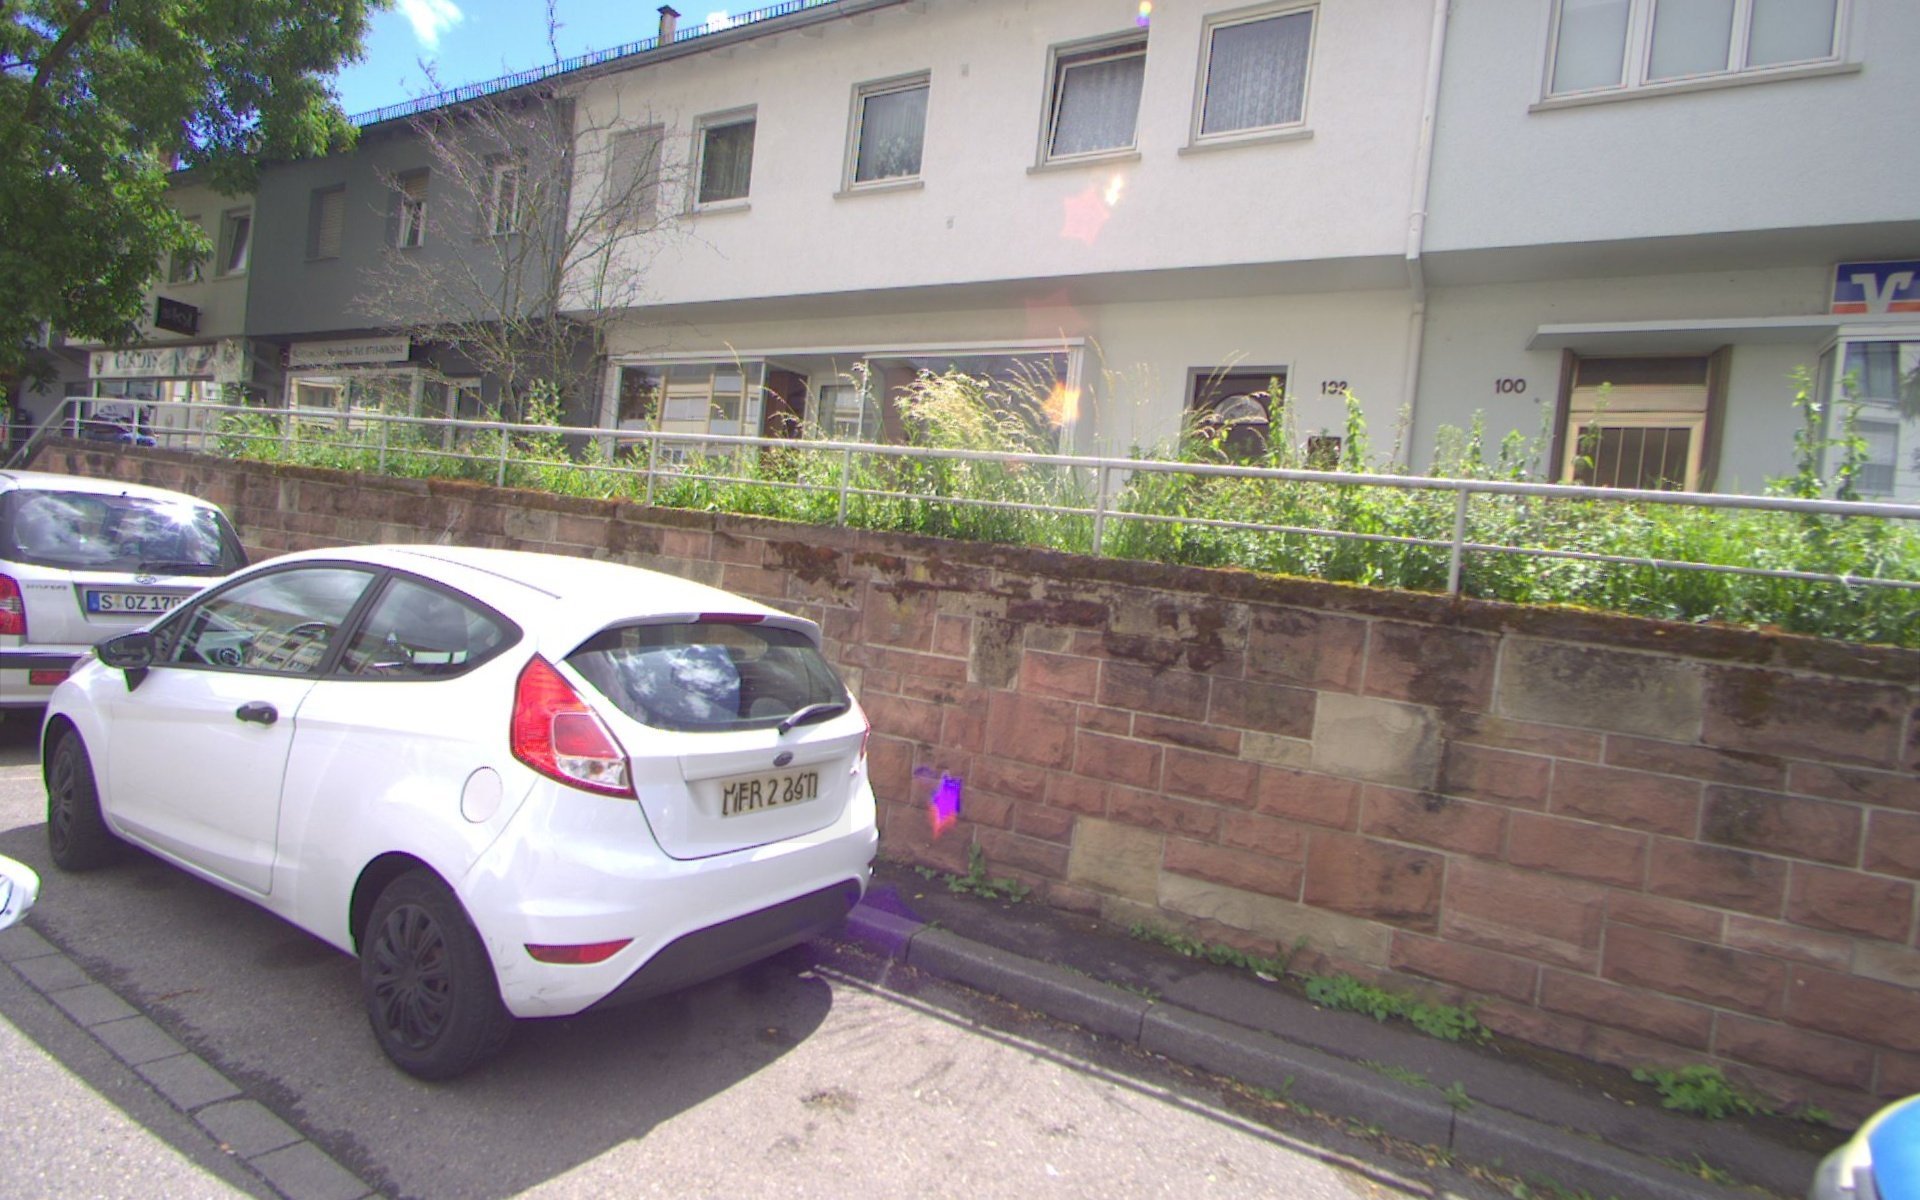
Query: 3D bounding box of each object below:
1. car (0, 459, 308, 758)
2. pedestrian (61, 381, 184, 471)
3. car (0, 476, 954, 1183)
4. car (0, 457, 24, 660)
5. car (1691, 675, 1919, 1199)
[{"bbox_3d":[-6.176,-0.082,6.693,3.416,1.571,1.584,7,0,30],"label":"car"},{"bbox_3d":[-9.197,-1.908,11.064,0.693,0.799,0.796,7,0,30],"label":"pedestrian"},{"bbox_3d":[-2.120,0.482,4.035,3.758,1.508,1.647,7,0,31],"label":"car"},{"bbox_3d":[-10.344,-0.626,9.001,4.502,1.703,1.824,7,1,34],"label":"car"},{"bbox_3d":[3.029,1.072,0.851,3.612,1.475,1.609,7,2,29],"label":"car"}]
